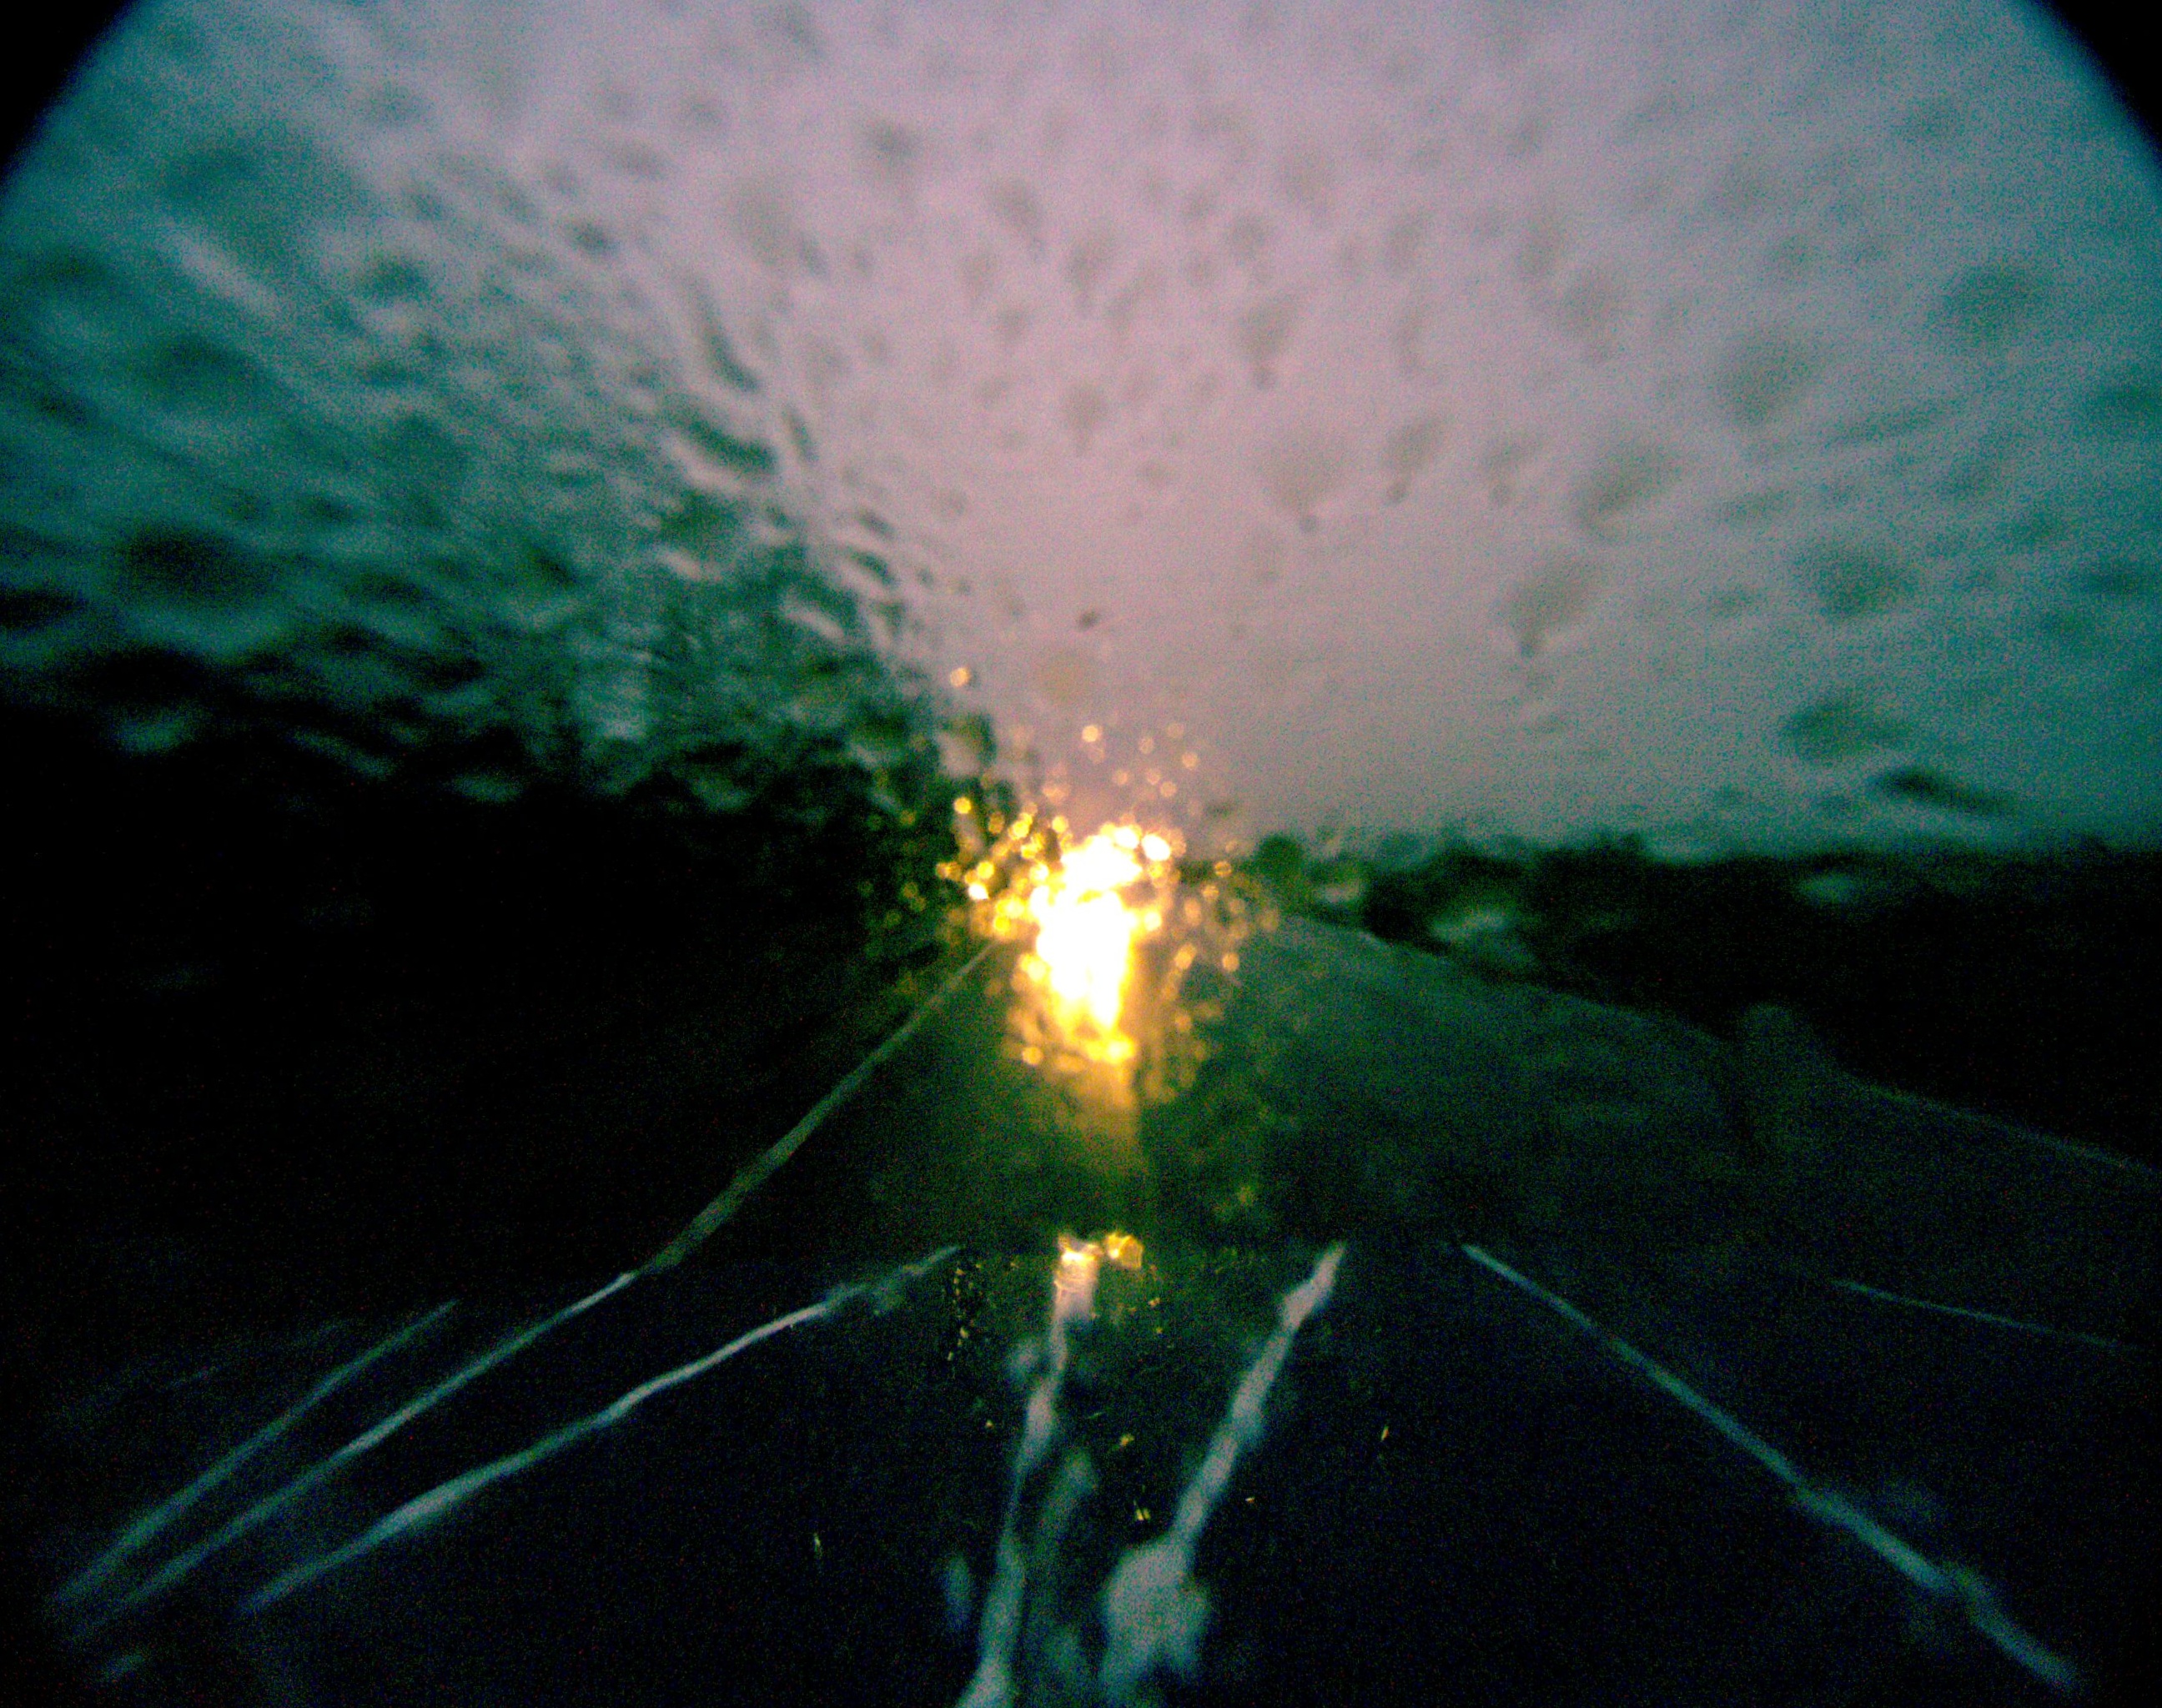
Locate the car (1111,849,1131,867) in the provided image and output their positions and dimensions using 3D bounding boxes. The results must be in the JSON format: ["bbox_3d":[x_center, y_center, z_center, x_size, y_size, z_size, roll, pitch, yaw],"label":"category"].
[{"bbox_3d":[4.193,0.421,79.928,1.844,1.711,3.956,-2,1,0],"label":"car"}]

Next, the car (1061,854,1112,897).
[{"bbox_3d":[0.209,0.802,29.873,1.844,1.484,3.956,-2,1,0],"label":"car"}]
